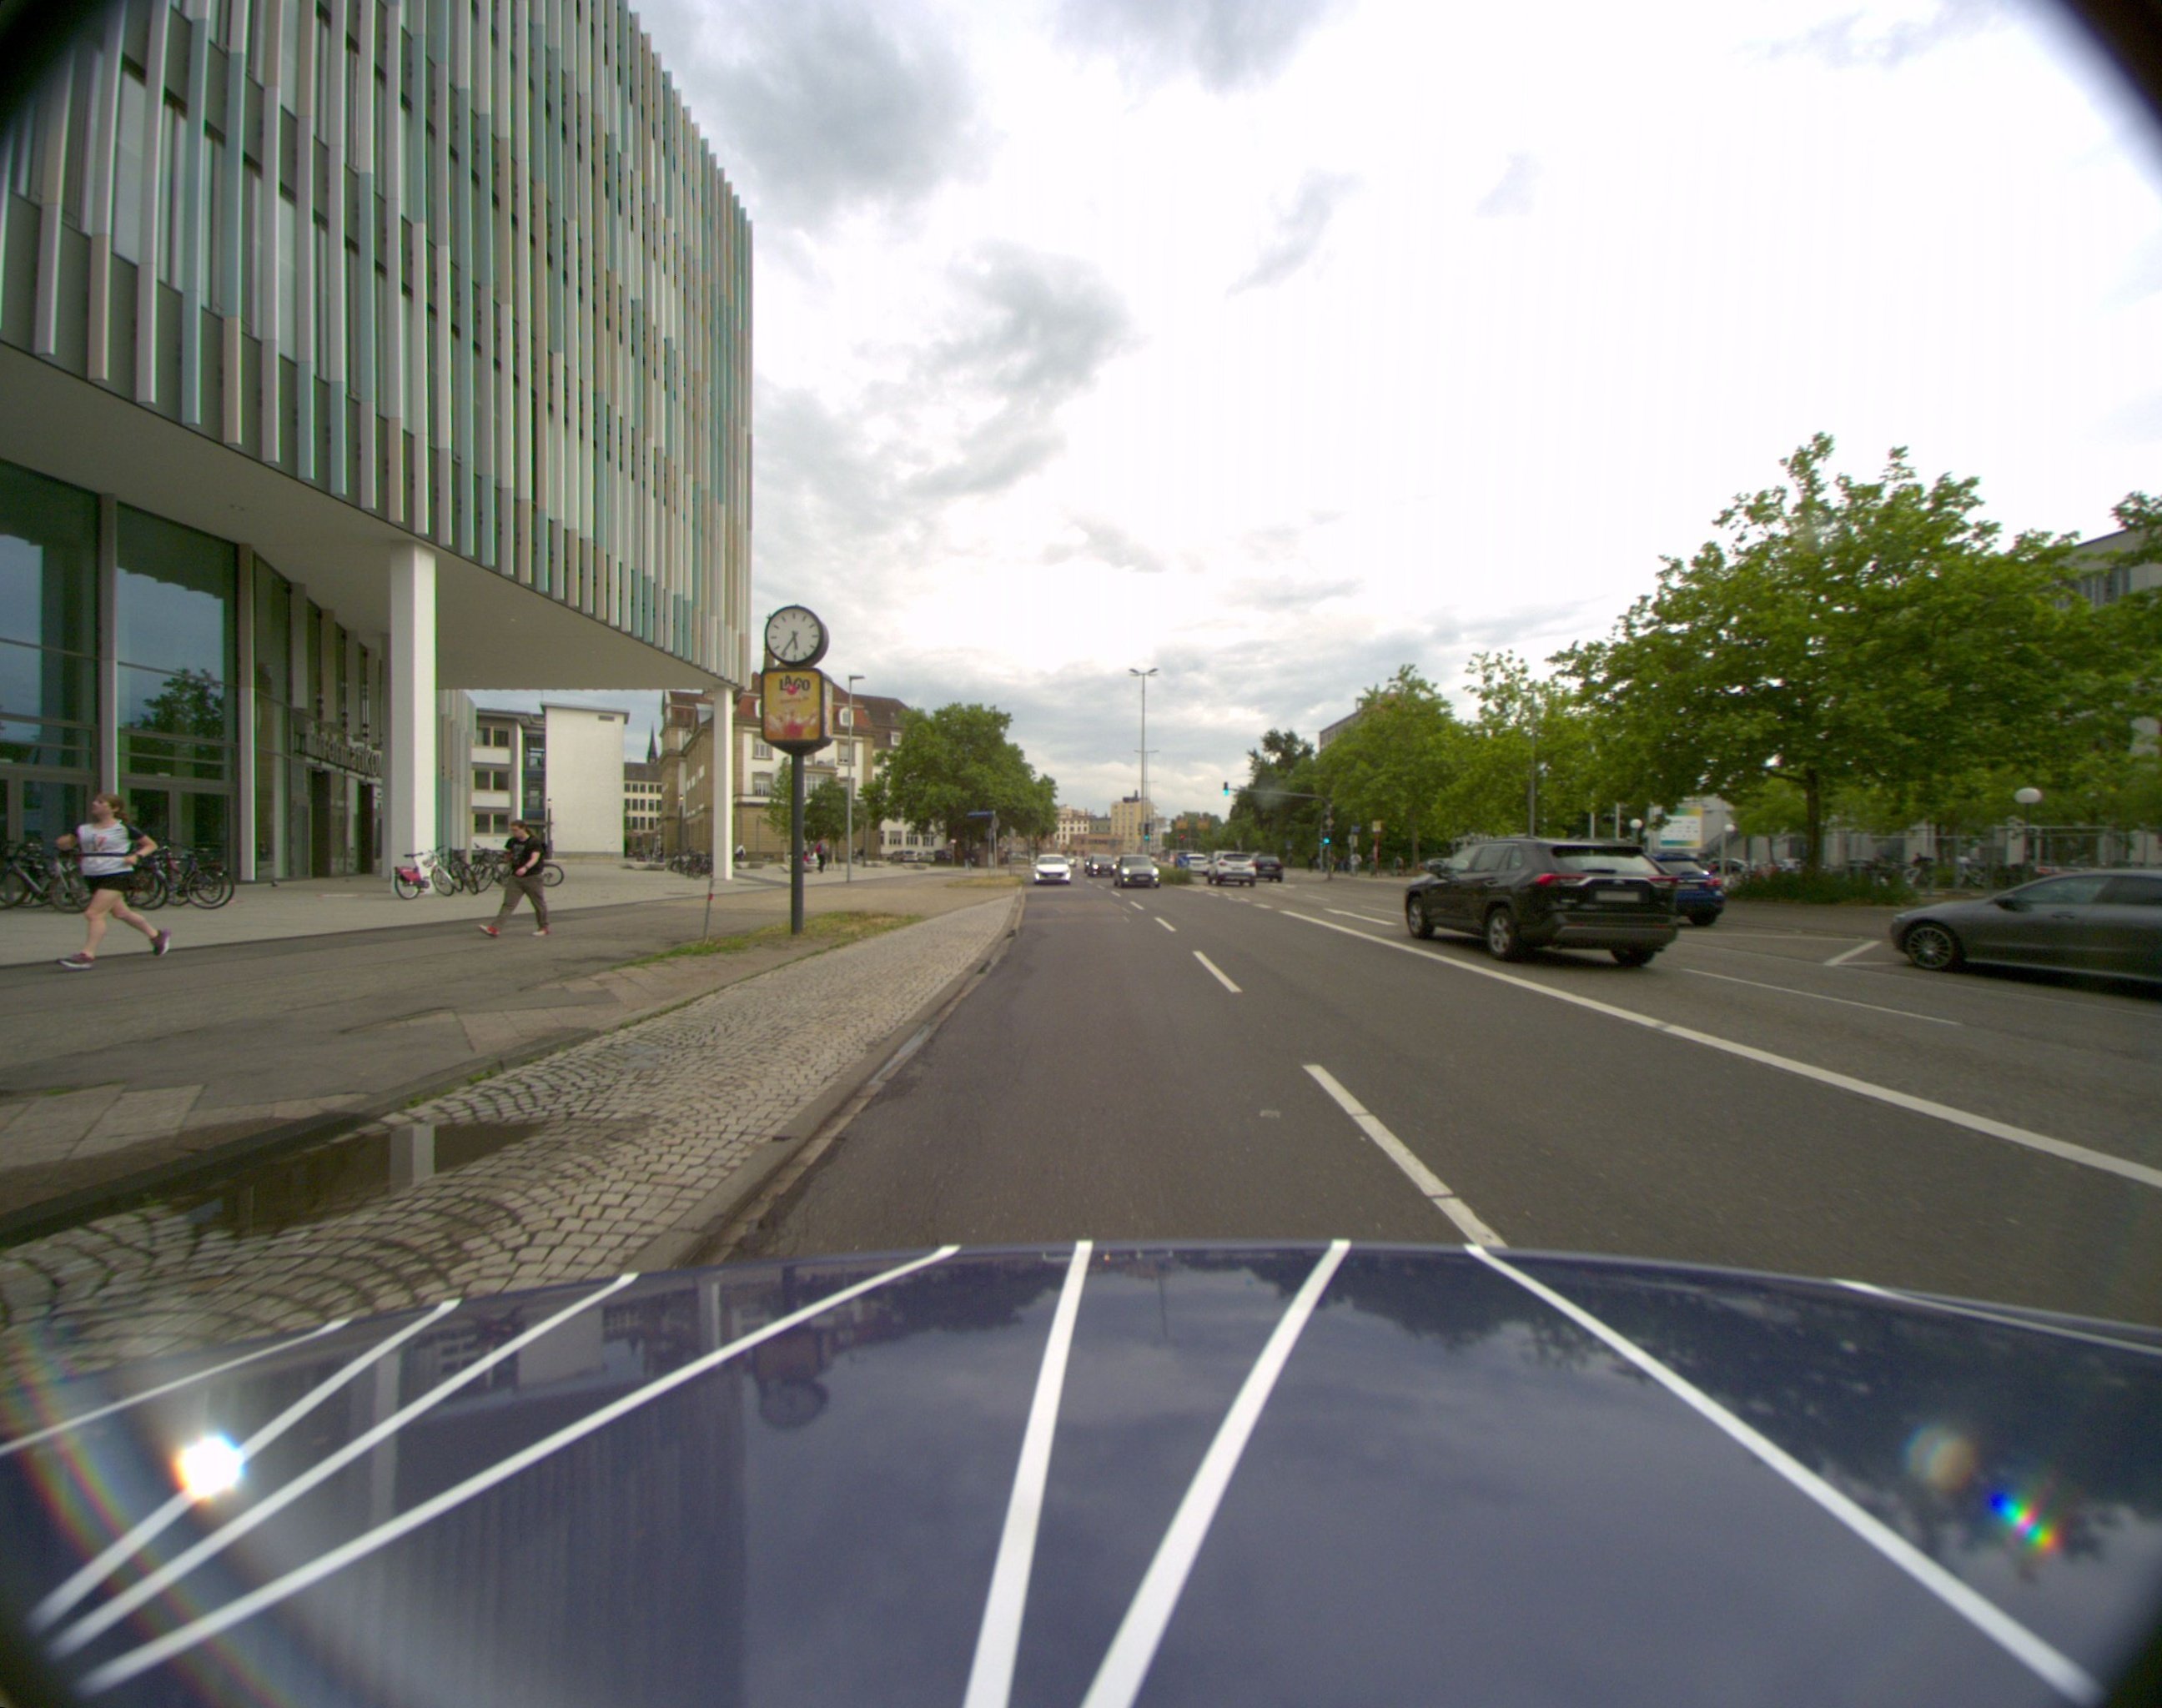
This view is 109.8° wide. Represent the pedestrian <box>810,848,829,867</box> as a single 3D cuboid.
[{"bbox_3d":[-17.758,0.257,51.532,0.911,1.250,0.879,-1,0,5],"label":"pedestrian"}]

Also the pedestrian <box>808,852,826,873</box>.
[{"bbox_3d":[-17.410,0.552,50.110,0.912,1.359,0.878,-1,0,-8],"label":"pedestrian"}]

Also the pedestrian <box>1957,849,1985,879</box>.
[{"bbox_3d":[59.542,0.644,50.836,0.796,2.002,0.946,1,1,-15],"label":"pedestrian"}]

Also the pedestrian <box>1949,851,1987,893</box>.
[{"bbox_3d":[43.979,0.882,37.674,0.896,2.002,0.796,1,1,9],"label":"pedestrian"}]

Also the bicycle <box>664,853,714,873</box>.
[{"bbox_3d":[-19.904,0.468,38.580,2.195,1.000,0.780,1,0,-28],"label":"bicycle"}]

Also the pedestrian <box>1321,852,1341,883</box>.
[{"bbox_3d":[16.310,0.860,49.628,0.896,2.002,1.009,1,0,0],"label":"pedestrian"}]

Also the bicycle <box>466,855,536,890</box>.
[{"bbox_3d":[-15.848,0.524,20.781,1.491,0.924,0.439,2,-1,-37],"label":"bicycle"}]

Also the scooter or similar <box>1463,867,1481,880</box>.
[{"bbox_3d":[21.875,1.102,42.505,0.407,0.689,1.289,-1,0,4],"label":"scooter or similar"}]

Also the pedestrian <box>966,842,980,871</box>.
[{"bbox_3d":[-7.786,0.178,54.907,0.844,2.002,0.894,1,1,3],"label":"pedestrian"}]

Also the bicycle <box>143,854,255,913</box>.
[{"bbox_3d":[-15.793,0.522,13.616,1.608,0.930,0.569,3,0,12],"label":"bicycle"}]

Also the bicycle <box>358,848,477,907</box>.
[{"bbox_3d":[-14.087,0.469,16.241,0.637,1.134,2.200,4,0,-3],"label":"bicycle"}]

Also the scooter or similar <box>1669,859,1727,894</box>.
[{"bbox_3d":[22.218,0.798,27.384,1.578,1.236,0.566,1,1,1],"label":"scooter or similar"}]

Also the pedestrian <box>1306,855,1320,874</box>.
[{"bbox_3d":[21.380,0.986,70.072,0.590,1.685,0.653,18,2,4],"label":"pedestrian"}]

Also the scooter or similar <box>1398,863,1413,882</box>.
[{"bbox_3d":[20.645,1.155,48.321,0.361,1.133,1.320,1,0,2],"label":"scooter or similar"}]

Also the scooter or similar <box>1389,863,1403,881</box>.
[{"bbox_3d":[20.718,1.157,49.942,0.361,1.133,1.320,1,0,2],"label":"scooter or similar"}]

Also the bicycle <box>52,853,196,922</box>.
[{"bbox_3d":[-15.241,0.521,12.115,1.610,0.977,0.556,3,1,2],"label":"bicycle"}]

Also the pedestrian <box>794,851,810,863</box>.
[{"bbox_3d":[-18.463,0.193,50.320,0.635,0.818,0.734,2,1,17],"label":"pedestrian"}]

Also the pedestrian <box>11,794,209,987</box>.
[{"bbox_3d":[-9.760,0.350,7.682,0.845,1.825,0.894,1,0,-1],"label":"pedestrian"}]

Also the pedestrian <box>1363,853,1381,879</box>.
[{"bbox_3d":[20.913,0.840,54.654,0.897,1.793,0.935,2,1,-2],"label":"pedestrian"}]

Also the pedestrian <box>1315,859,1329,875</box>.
[{"bbox_3d":[22.819,1.232,71.916,0.701,1.420,0.998,-1,0,-26],"label":"pedestrian"}]

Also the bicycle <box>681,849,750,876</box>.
[{"bbox_3d":[-16.784,0.408,34.942,2.726,1.181,0.772,1,0,-40],"label":"bicycle"}]

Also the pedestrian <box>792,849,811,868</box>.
[{"bbox_3d":[-18.921,0.276,51.446,0.911,1.250,0.879,-1,0,5],"label":"pedestrian"}]

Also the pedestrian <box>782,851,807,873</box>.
[{"bbox_3d":[-15.540,0.432,41.219,0.892,1.186,0.846,1,0,16],"label":"pedestrian"}]

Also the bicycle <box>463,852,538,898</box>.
[{"bbox_3d":[-14.508,0.491,19.059,0.610,1.073,1.961,3,0,-10],"label":"bicycle"}]

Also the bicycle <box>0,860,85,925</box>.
[{"bbox_3d":[-15.550,0.542,10.989,1.610,0.869,0.556,2,1,3],"label":"bicycle"}]

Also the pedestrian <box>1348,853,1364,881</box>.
[{"bbox_3d":[20.211,0.960,55.797,0.669,2.047,0.852,-3,1,-16],"label":"pedestrian"}]

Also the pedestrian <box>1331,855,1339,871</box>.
[{"bbox_3d":[25.440,0.927,76.187,0.503,1.597,0.601,0,1,-10],"label":"pedestrian"}]

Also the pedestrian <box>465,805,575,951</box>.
[{"bbox_3d":[-8.157,0.333,11.092,0.844,2.002,0.894,3,1,3],"label":"pedestrian"}]

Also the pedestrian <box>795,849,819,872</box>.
[{"bbox_3d":[-15.072,0.358,41.802,0.843,1.199,0.896,1,0,36],"label":"pedestrian"}]

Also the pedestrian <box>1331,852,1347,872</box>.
[{"bbox_3d":[25.659,0.818,75.510,1.043,2.002,1.098,-1,0,-29],"label":"pedestrian"}]

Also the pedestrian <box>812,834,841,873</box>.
[{"bbox_3d":[-13.402,-0.025,39.982,1.187,2.050,1.133,-1,0,-30],"label":"pedestrian"}]

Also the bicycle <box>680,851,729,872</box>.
[{"bbox_3d":[-18.289,0.378,36.927,1.964,0.996,0.772,1,0,-40],"label":"bicycle"}]

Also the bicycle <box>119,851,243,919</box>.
[{"bbox_3d":[-14.992,0.507,12.677,1.403,1.037,0.559,3,1,2],"label":"bicycle"}]

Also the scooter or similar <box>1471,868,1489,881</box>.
[{"bbox_3d":[21.500,1.105,40.941,0.407,0.689,1.289,-1,0,4],"label":"scooter or similar"}]

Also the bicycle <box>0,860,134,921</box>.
[{"bbox_3d":[-15.493,0.541,11.526,1.610,0.869,0.556,1,1,2],"label":"bicycle"}]
